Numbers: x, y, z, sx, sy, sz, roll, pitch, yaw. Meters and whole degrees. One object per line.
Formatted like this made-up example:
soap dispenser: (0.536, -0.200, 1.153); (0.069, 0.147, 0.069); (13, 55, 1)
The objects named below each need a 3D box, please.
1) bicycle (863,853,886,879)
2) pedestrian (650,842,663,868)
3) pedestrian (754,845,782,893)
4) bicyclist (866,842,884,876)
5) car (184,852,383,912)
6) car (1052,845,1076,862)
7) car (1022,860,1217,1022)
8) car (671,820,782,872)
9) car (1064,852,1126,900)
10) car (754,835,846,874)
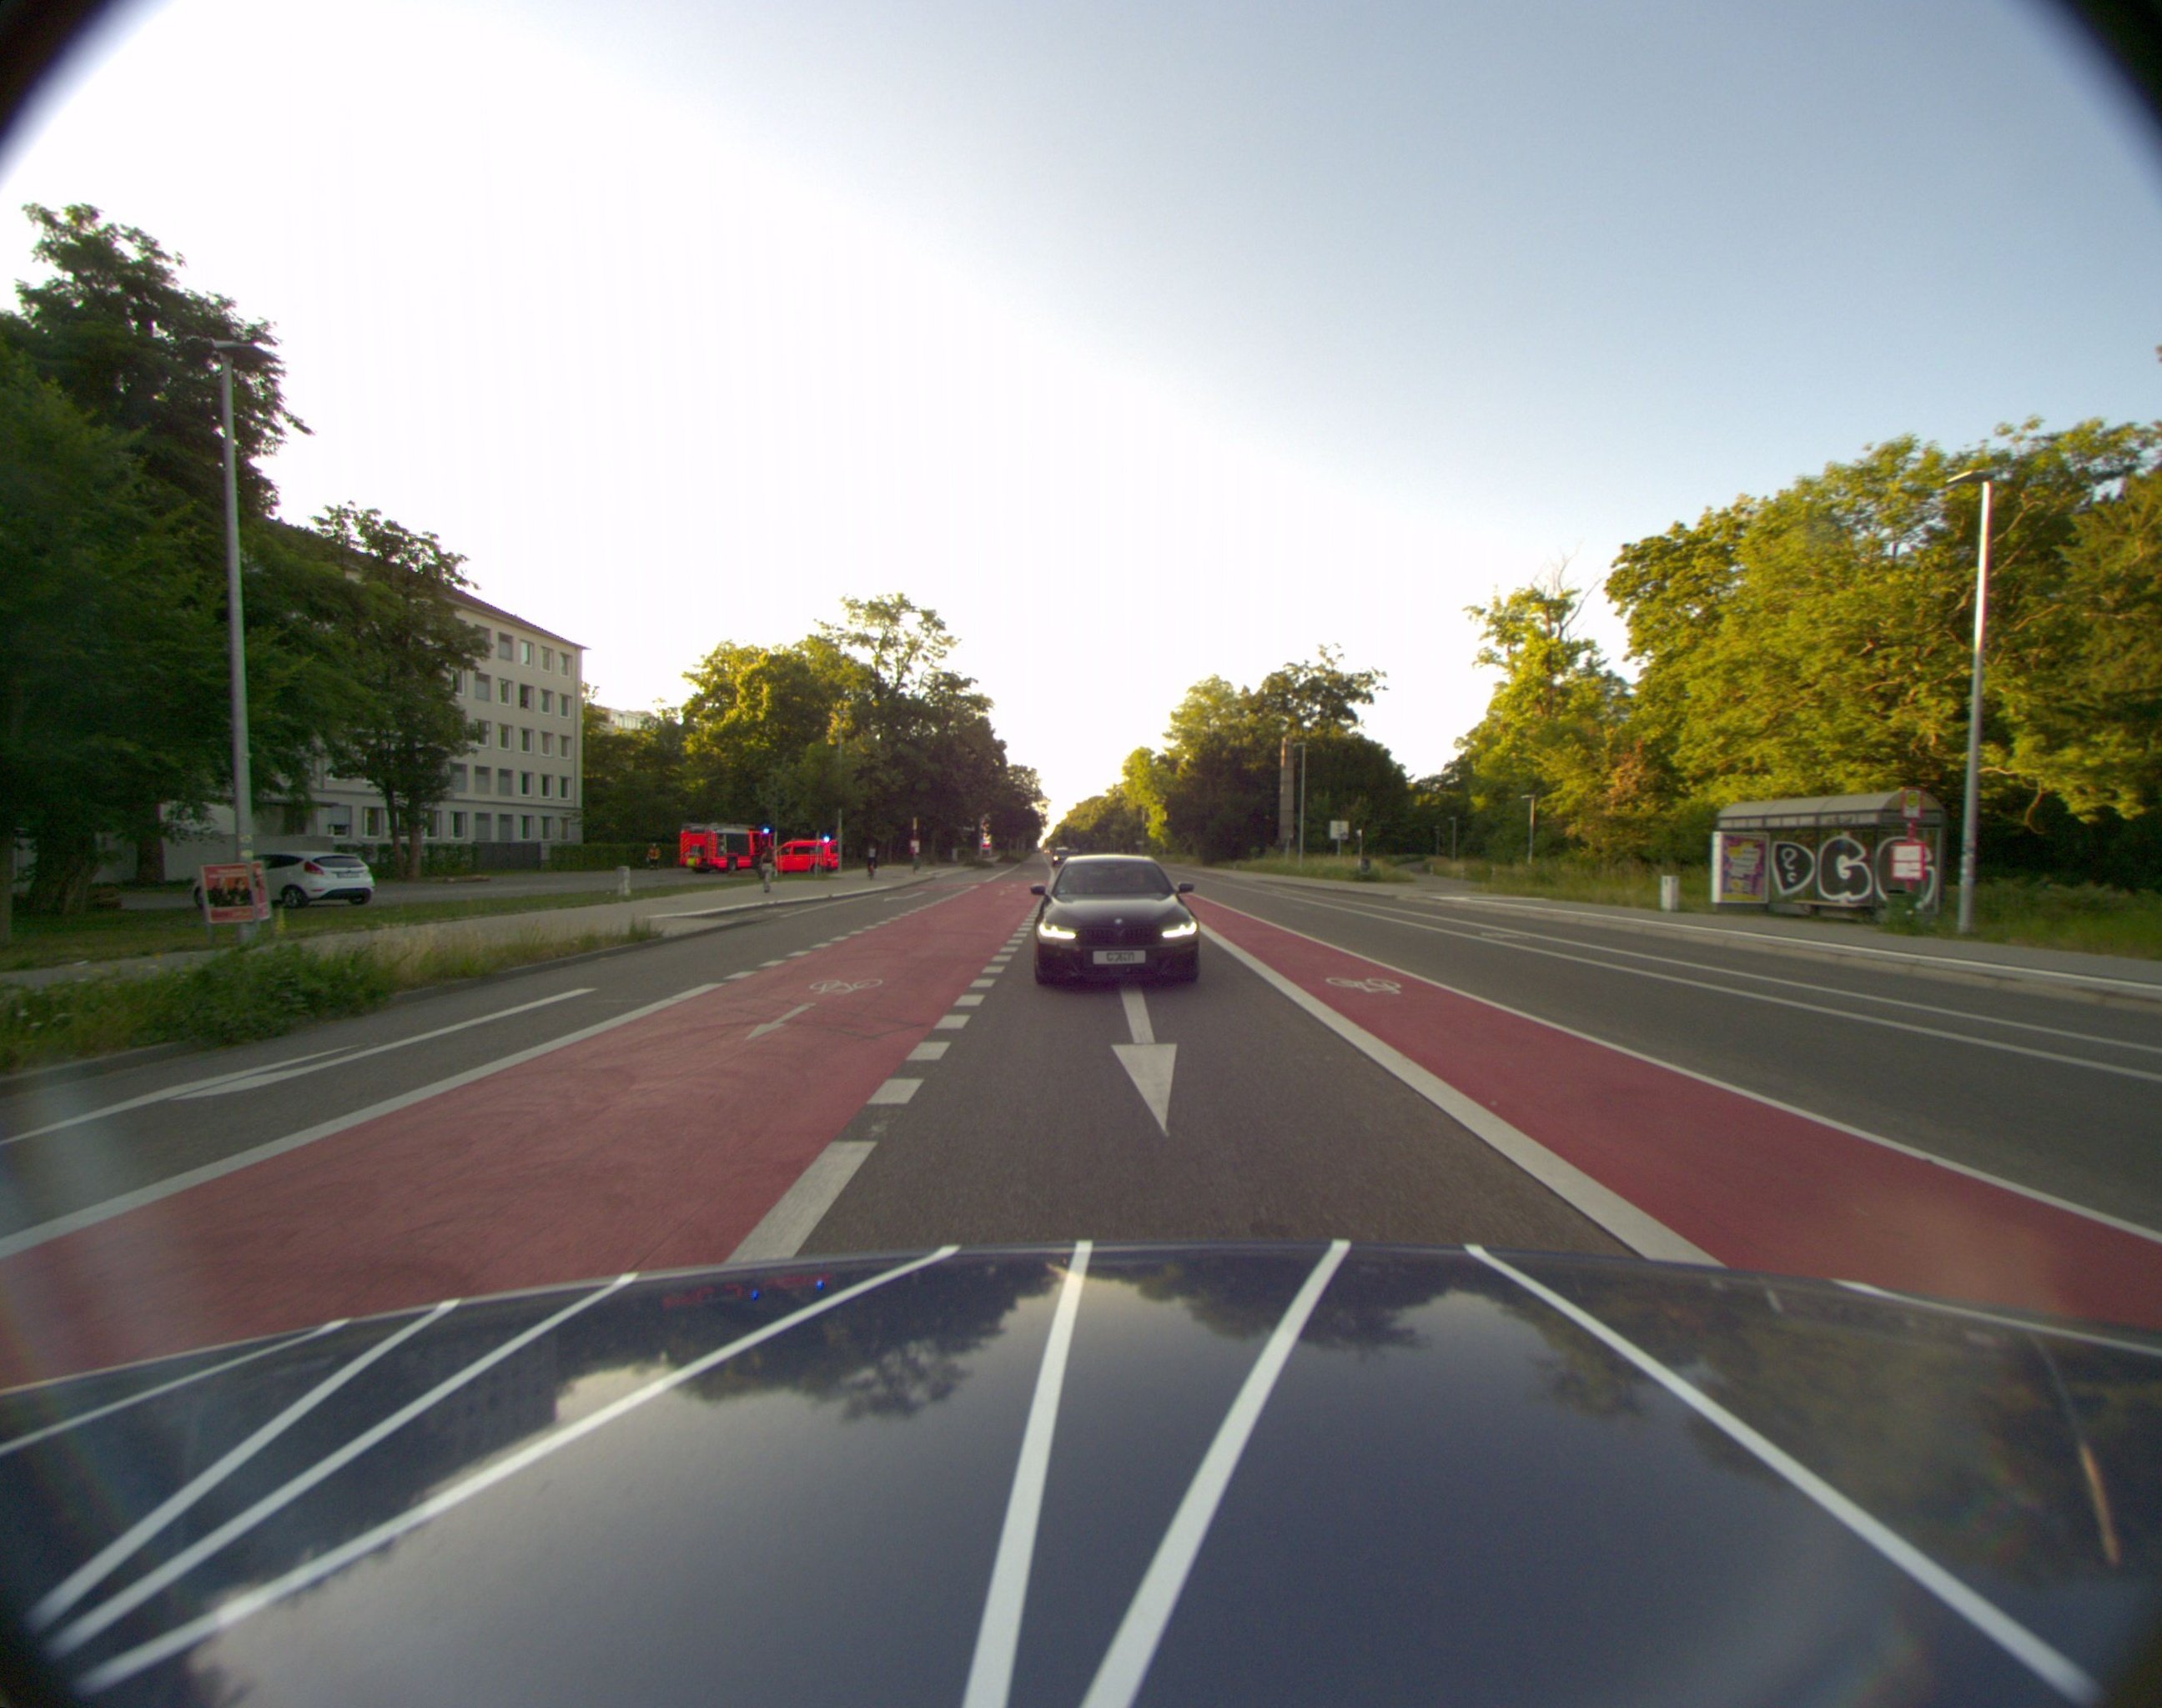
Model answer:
bicycle: (-9.922, 0.566, 36.602); (0.571, 1.233, 1.899); (0, 1, 1)
pedestrian: (-29.629, 0.056, 53.068); (0.684, 1.831, 0.843); (0, 1, -37)
pedestrian: (-10.779, 0.510, 26.175); (0.682, 1.613, 0.688); (0, 1, 1)
bicyclist: (-9.920, 0.223, 36.564); (0.571, 1.623, 1.037); (0, 1, 1)
car: (-20.793, 0.687, 19.890); (3.662, 1.451, 1.665); (0, 1, 5)
car: (-1.605, -0.061, 70.364); (1.851, 1.473, 4.701); (-2, 1, -4)
car: (0.369, 0.860, 9.903); (1.818, 1.391, 5.212); (-2, 1, 0)
car: (-23.638, -0.566, 51.235); (2.770, 3.225, 8.301); (1, 1, 7)
car: (0.377, 0.672, 25.717); (1.850, 1.346, 4.702); (-2, 1, -1)
car: (-17.956, 0.002, 48.718); (5.164, 2.379, 2.000); (0, 1, 3)
